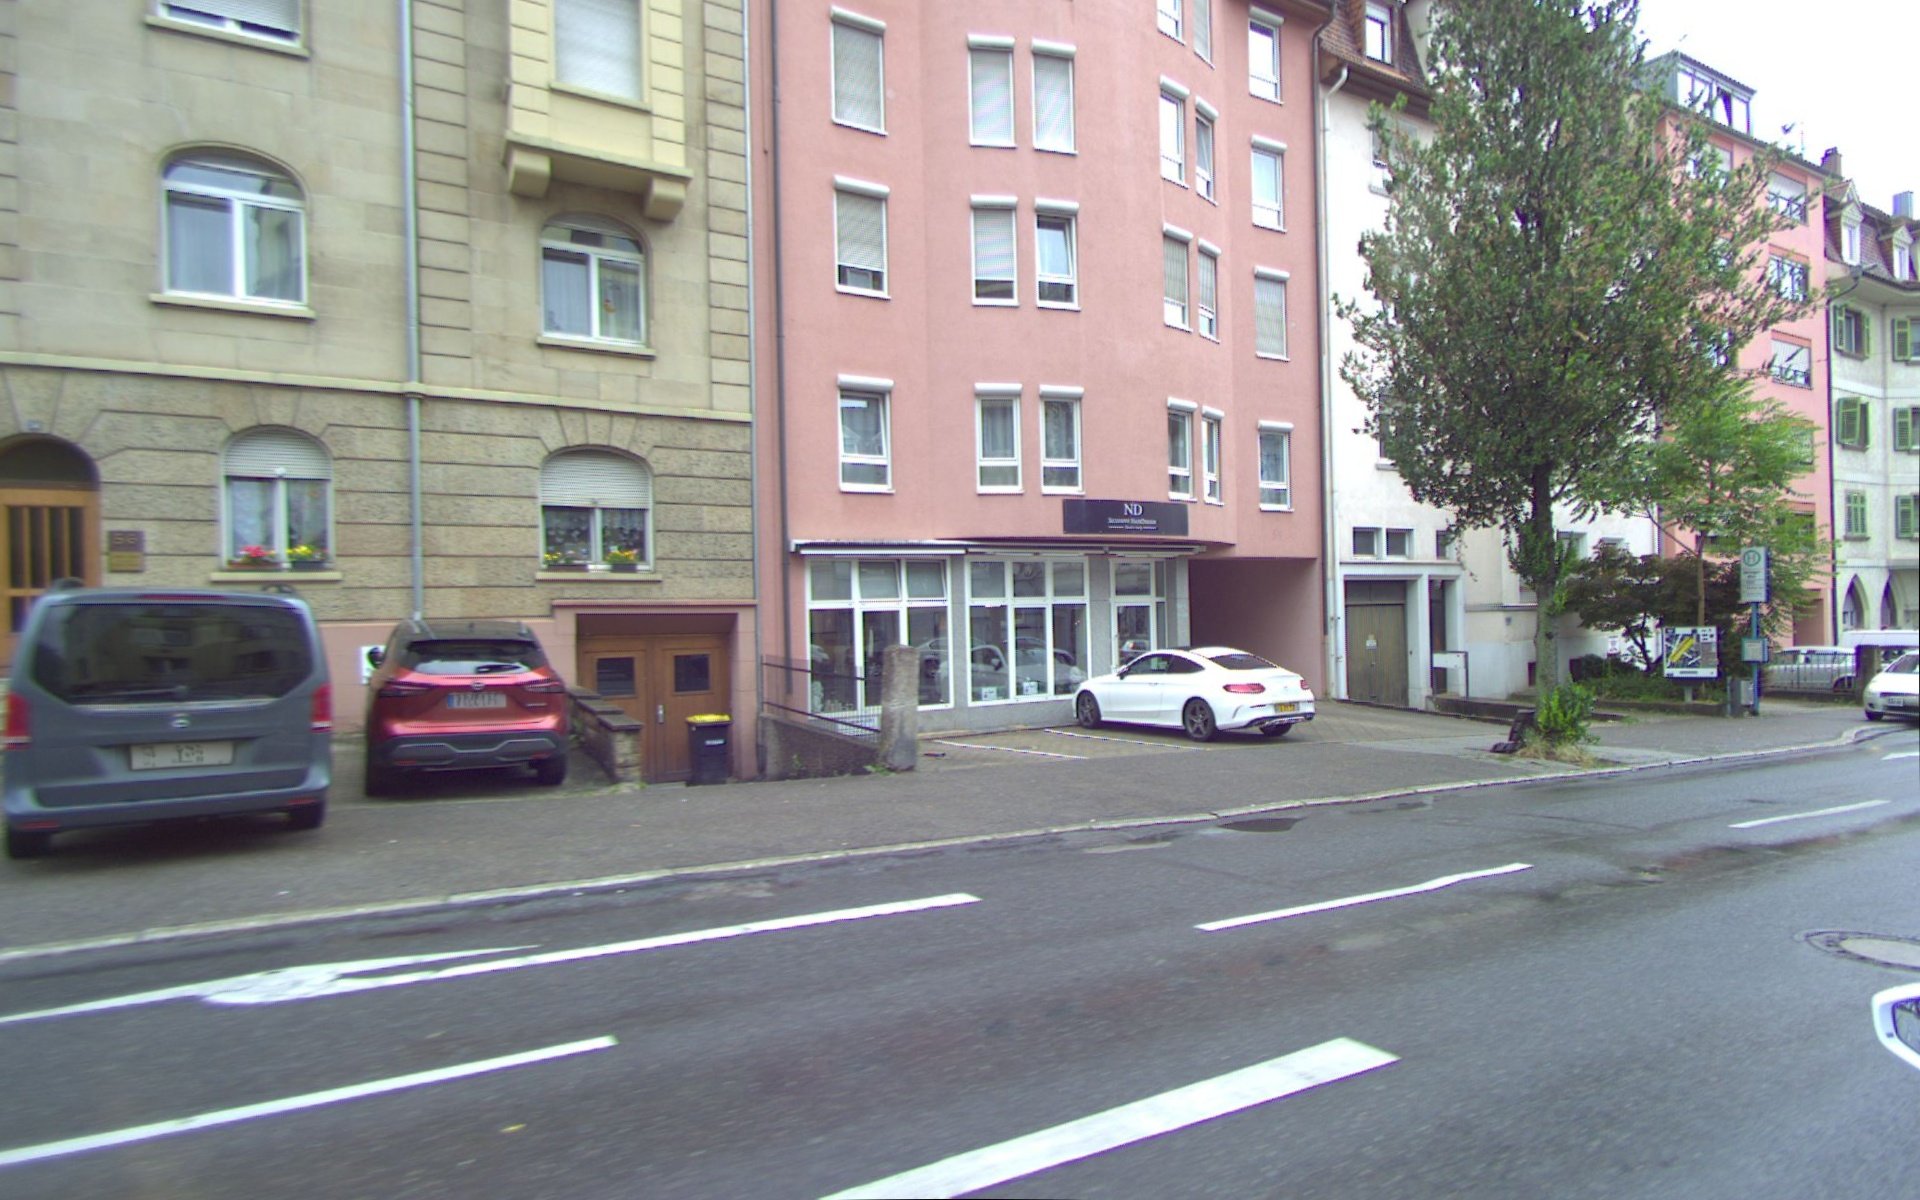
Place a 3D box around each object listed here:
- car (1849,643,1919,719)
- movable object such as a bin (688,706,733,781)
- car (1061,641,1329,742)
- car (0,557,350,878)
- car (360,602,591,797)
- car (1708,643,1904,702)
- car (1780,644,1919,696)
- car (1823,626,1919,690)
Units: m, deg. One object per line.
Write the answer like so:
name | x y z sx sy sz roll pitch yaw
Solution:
car | 20.223 1.644 20.714 3.956 1.465 1.614 2 -2 -29
movable object such as a bin | -3.680 2.110 14.821 0.543 1.010 0.530 1 0 -24
car | 3.696 1.390 16.647 1.746 1.419 4.528 1 -3 -29
car | -6.602 0.674 8.537 1.847 1.965 4.637 1 1 -39
car | -5.435 0.904 11.047 1.875 1.612 4.076 2 0 -30
car | 23.337 1.950 27.830 1.775 1.476 3.854 2 -3 -36
car | 28.049 2.112 30.636 1.772 1.471 4.409 2 -2 -31
car | 30.569 1.821 31.589 2.023 2.000 4.808 2 -2 -29
